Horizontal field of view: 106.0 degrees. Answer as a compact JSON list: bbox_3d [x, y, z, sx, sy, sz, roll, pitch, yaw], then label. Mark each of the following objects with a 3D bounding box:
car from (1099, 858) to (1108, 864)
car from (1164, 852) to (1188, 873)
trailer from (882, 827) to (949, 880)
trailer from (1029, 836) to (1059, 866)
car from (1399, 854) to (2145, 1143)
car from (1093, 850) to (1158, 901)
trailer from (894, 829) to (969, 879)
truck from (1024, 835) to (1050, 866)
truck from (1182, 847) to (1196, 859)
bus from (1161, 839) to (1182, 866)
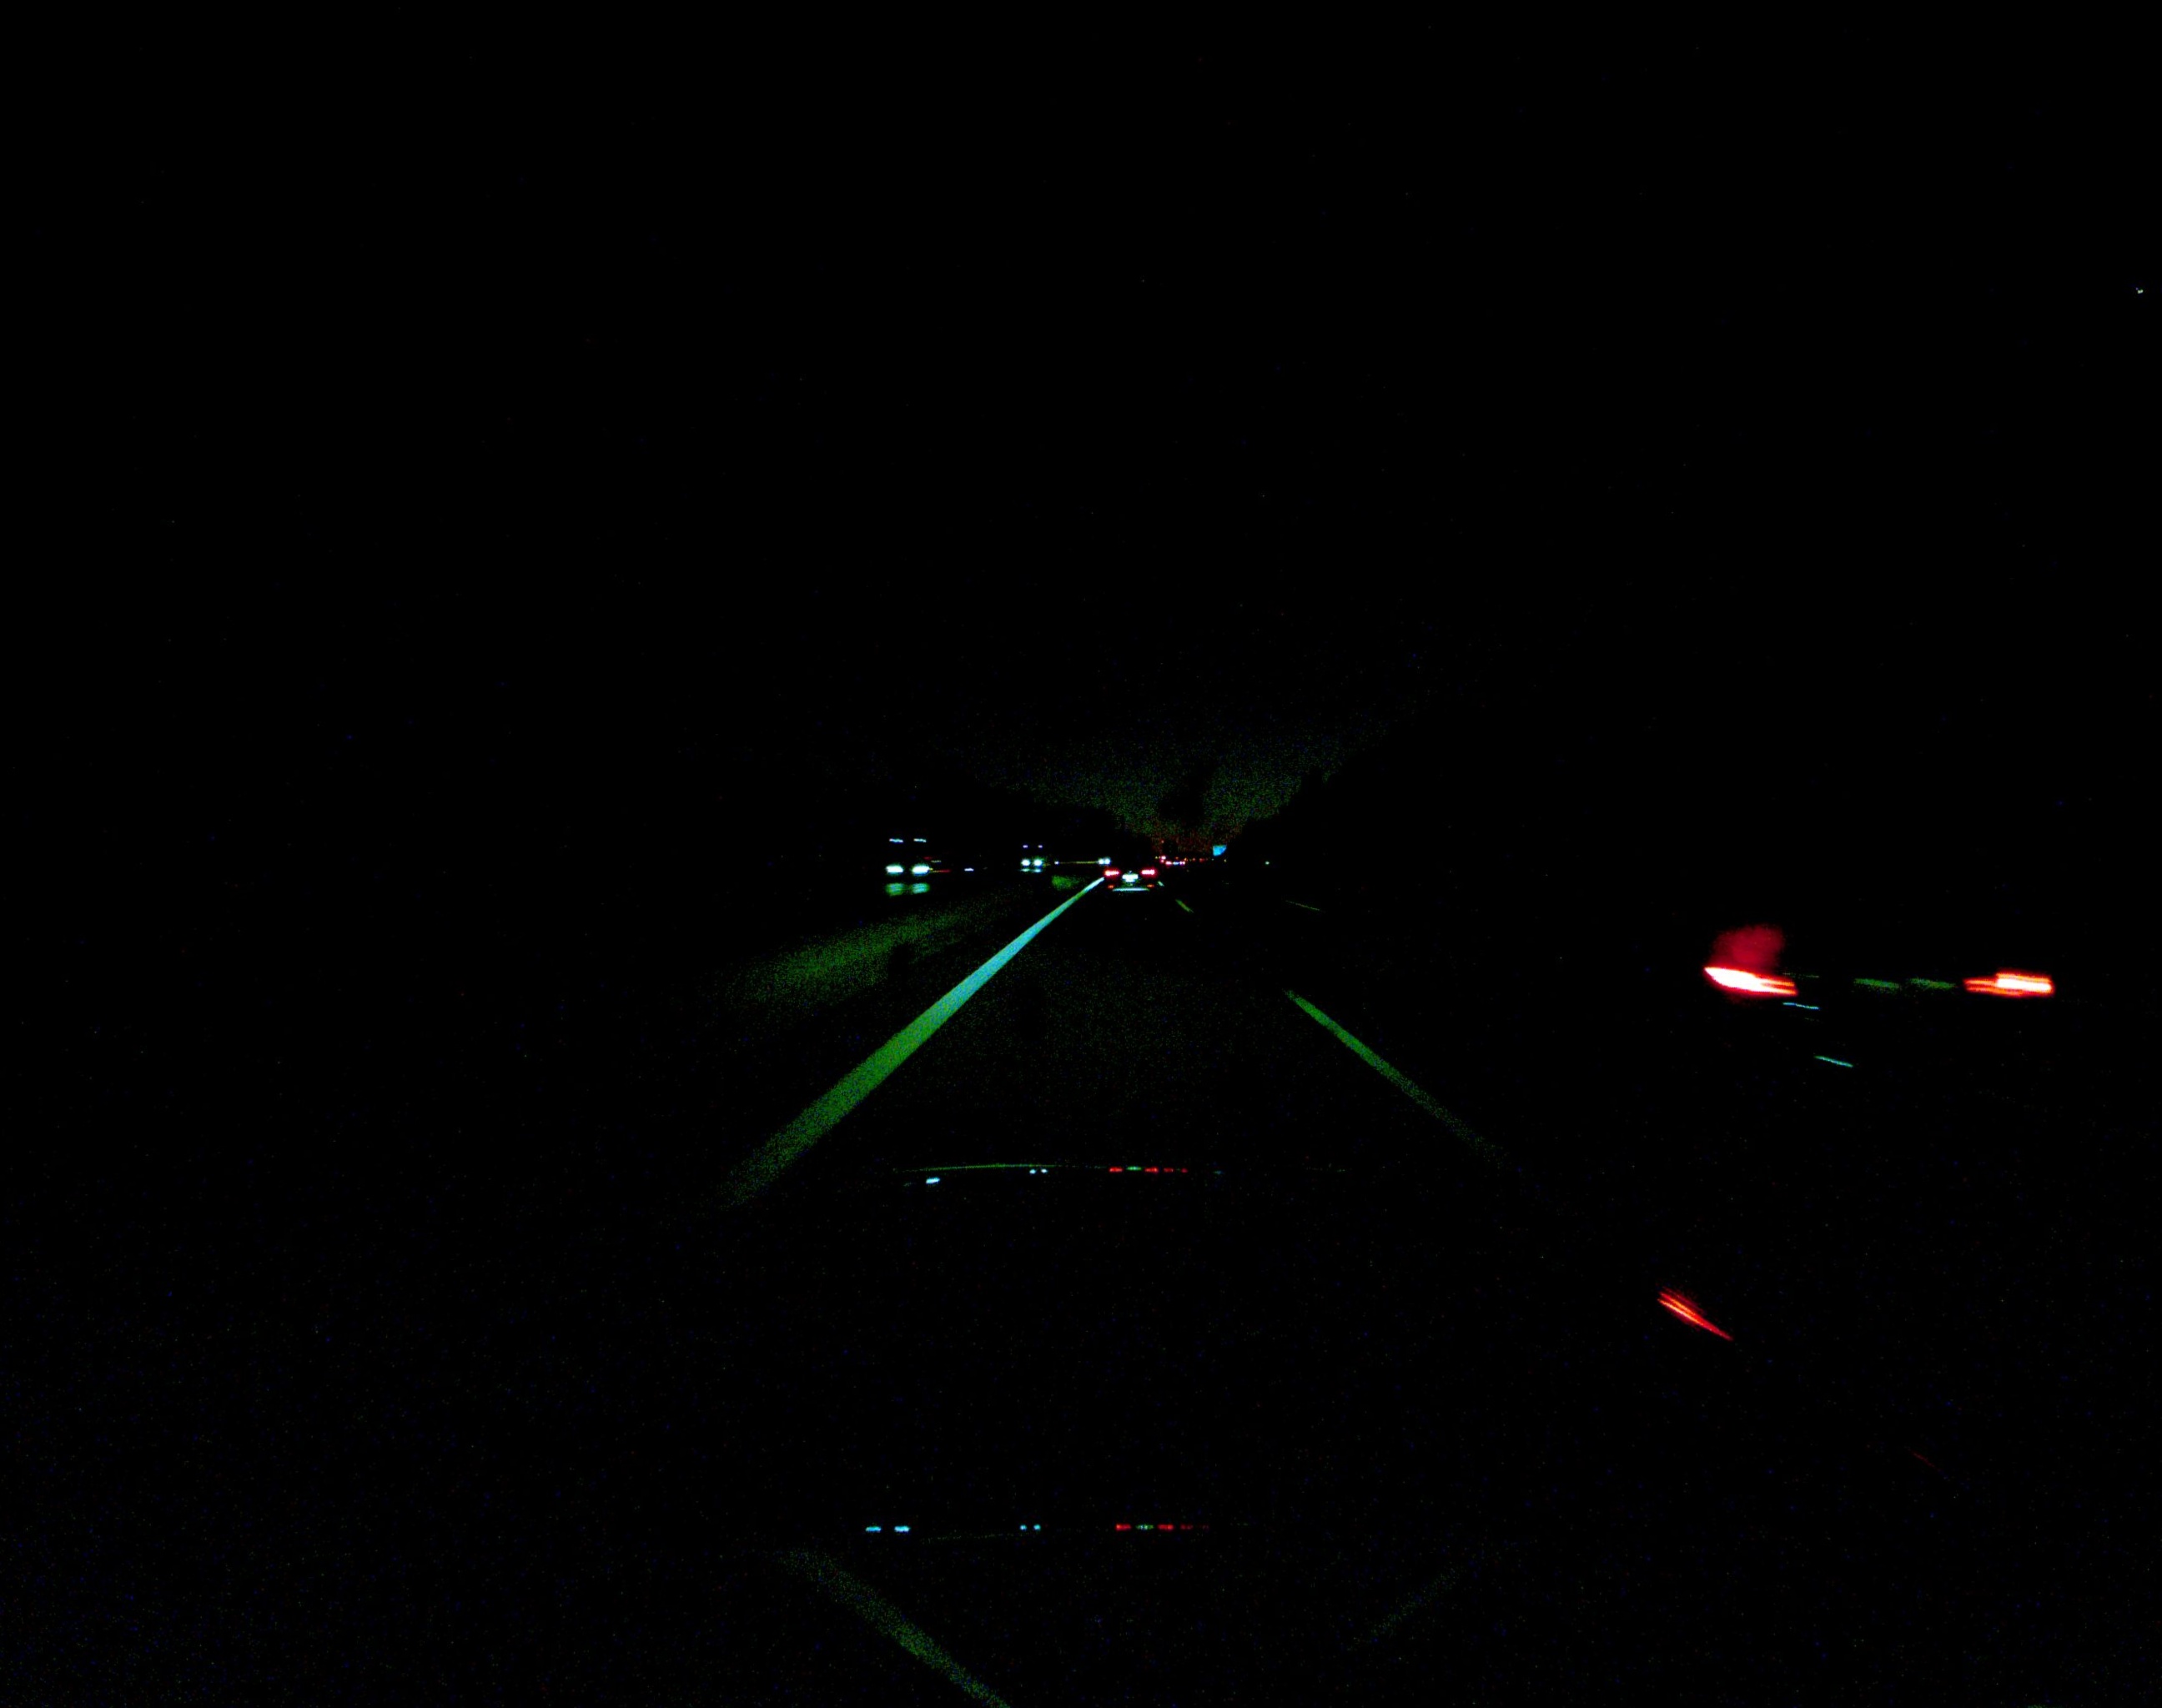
[{"bbox_3d":[5.366,1.639,192.621,1.804,1.453,4.139,-1,0,5],"label":"car"},{"bbox_3d":[8.583,0.806,73.948,1.903,1.730,4.003,1,-1,3],"label":"car"},{"bbox_3d":[-12.353,-0.015,61.444,3.043,3.689,7.238,-1,0,5],"label":"trailer"},{"bbox_3d":[-5.766,-0.417,129.908,2.839,4.433,13.999,-1,0,5],"label":"trailer"},{"bbox_3d":[4.405,0.719,6.571,1.828,1.401,5.071,-1,0,2],"label":"car"},{"bbox_3d":[1.528,0.683,28.367,2.097,1.618,4.207,0,0,3],"label":"car"},{"bbox_3d":[-11.921,0.032,66.506,3.043,3.689,11.701,-1,0,5],"label":"trailer"},{"bbox_3d":[-6.525,-0.462,121.357,2.839,4.433,6.405,-1,0,5],"label":"truck"},{"bbox_3d":[28.461,-0.262,215.312,2.537,3.016,9.054,-1,0,1],"label":"truck"},{"bbox_3d":[15.622,-0.156,139.892,2.636,3.994,14.738,-4,-2,9],"label":"bus"}]
